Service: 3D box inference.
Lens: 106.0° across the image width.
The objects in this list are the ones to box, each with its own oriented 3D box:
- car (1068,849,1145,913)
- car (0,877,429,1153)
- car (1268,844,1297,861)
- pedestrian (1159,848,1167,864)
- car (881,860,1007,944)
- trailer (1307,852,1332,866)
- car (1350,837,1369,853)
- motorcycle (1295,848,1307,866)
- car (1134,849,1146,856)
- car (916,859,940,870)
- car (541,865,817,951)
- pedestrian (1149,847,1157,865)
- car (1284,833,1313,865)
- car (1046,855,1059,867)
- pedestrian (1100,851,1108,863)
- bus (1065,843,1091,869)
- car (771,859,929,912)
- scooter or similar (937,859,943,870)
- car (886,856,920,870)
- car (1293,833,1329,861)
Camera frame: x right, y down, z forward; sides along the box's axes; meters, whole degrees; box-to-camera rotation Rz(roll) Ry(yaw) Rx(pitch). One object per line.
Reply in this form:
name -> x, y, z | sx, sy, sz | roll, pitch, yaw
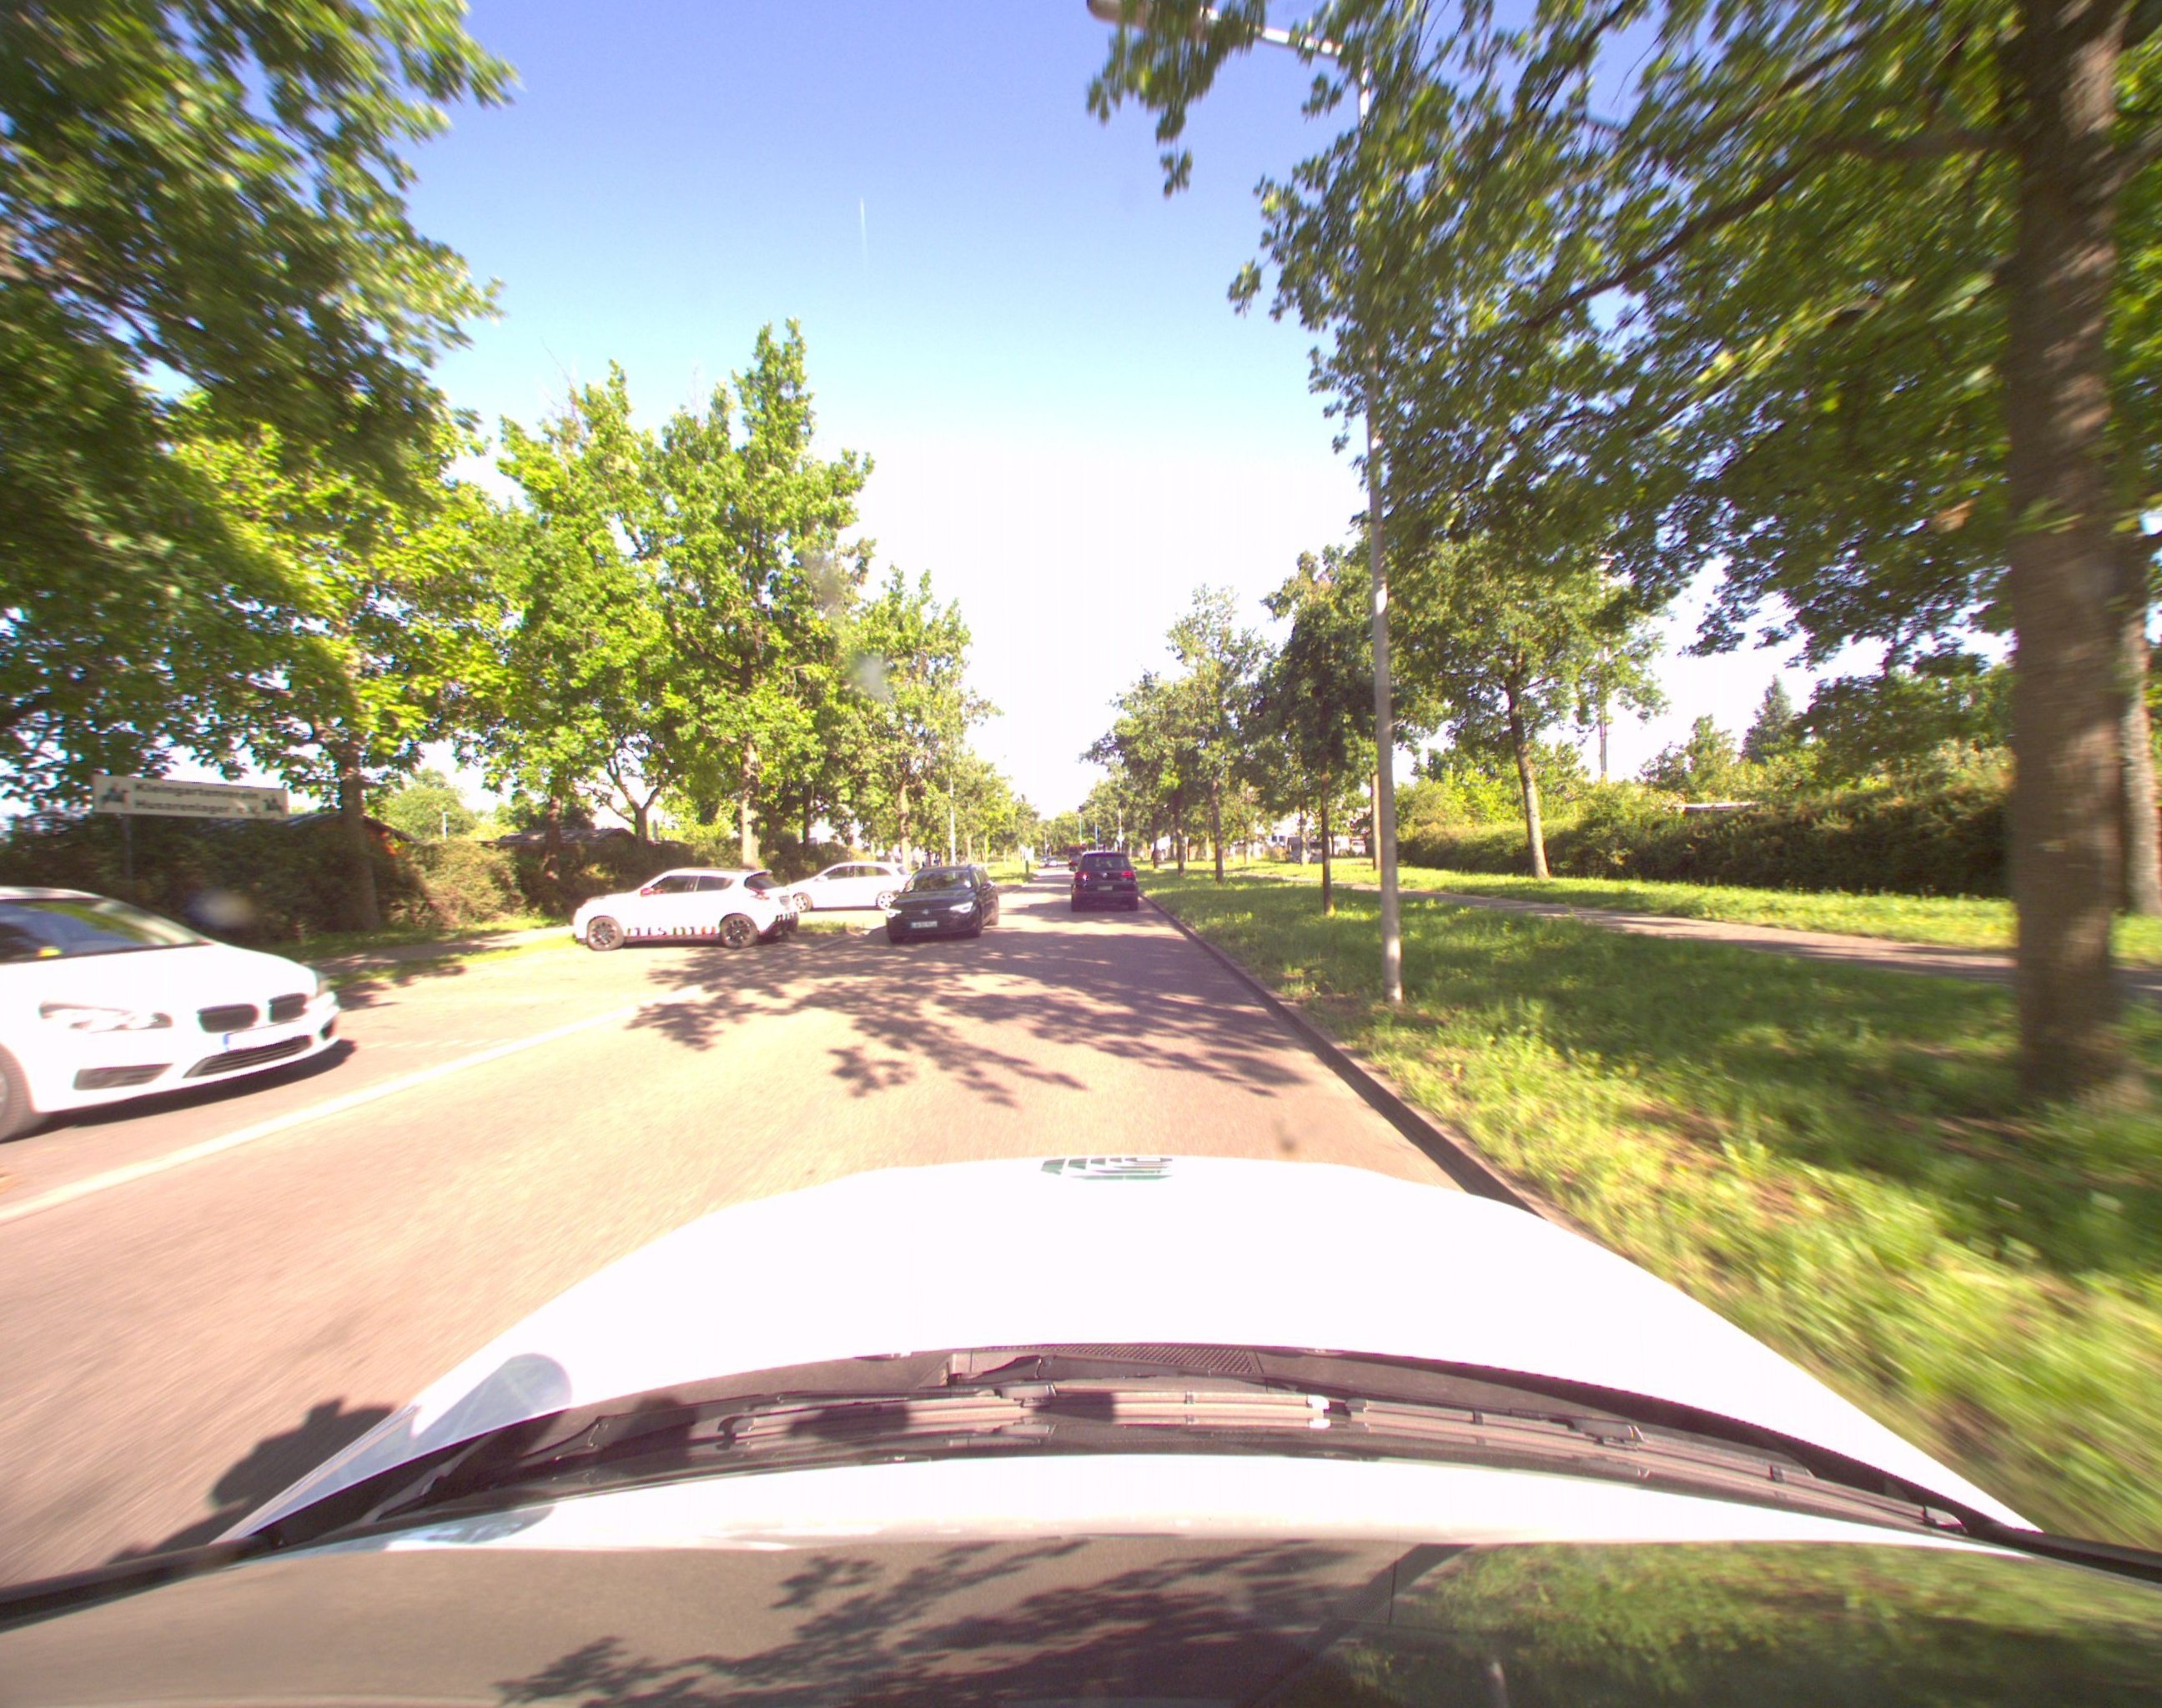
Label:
car -> 0.634, 0.696, 23.599 | 1.931, 1.656, 4.424 | -1, 0, -2
car -> -7.757, 1.003, 5.897 | 4.395, 1.556, 2.089 | -1, 0, 2
car -> 20.964, -0.187, 84.651 | 2.000, 1.664, 3.595 | -2, 0, -1
pedestrian -> 9.134, 0.208, 90.810 | 0.724, 1.755, 0.867 | -4, 0, -2
car -> -2.741, 0.915, 17.323 | 1.677, 1.402, 4.430 | -3, 0, 3
trailer -> 17.877, 0.408, 61.115 | 1.569, 0.868, 2.060 | -2, -4, 10
car -> 31.782, -1.038, 93.131 | 1.821, 1.640, 4.017 | -2, 0, 16
motorcycle -> 17.025, 0.247, 63.034 | 0.658, 1.231, 2.412 | -2, -4, 10
car -> 15.272, -0.472, 210.566 | 2.182, 1.744, 4.630 | -2, 0, -7
car -> -26.760, 1.836, 142.472 | 3.717, 1.618, 1.970 | -2, 0, 12
car -> -7.801, 1.016, 16.182 | 4.399, 1.511, 2.088 | -1, 0, -1
pedestrian -> 7.353, 0.196, 83.246 | 0.724, 1.812, 0.867 | -2, 2, -2
car -> 19.530, -0.497, 73.399 | 2.071, 2.565, 5.991 | -1, 3, 10
car -> -3.940, 0.915, 112.414 | 1.761, 1.528, 4.492 | -4, 1, -2
pedestrian -> 3.176, 0.481, 114.424 | 1.017, 1.651, 1.099 | -2, 0, -2
bus -> -0.546, 0.214, 118.284 | 2.760, 3.456, 11.191 | -2, 0, -5
car -> -7.508, 1.002, 26.882 | 4.617, 1.558, 2.189 | -1, 0, -4
scooter or similar -> -15.828, 1.189, 91.644 | 0.393, 1.279, 1.440 | -2, 0, -1
car -> -28.629, 1.507, 131.180 | 4.887, 2.013, 1.975 | -2, 0, -44
car -> 23.558, -0.710, 83.715 | 2.154, 2.643, 4.848 | -2, 0, -1
